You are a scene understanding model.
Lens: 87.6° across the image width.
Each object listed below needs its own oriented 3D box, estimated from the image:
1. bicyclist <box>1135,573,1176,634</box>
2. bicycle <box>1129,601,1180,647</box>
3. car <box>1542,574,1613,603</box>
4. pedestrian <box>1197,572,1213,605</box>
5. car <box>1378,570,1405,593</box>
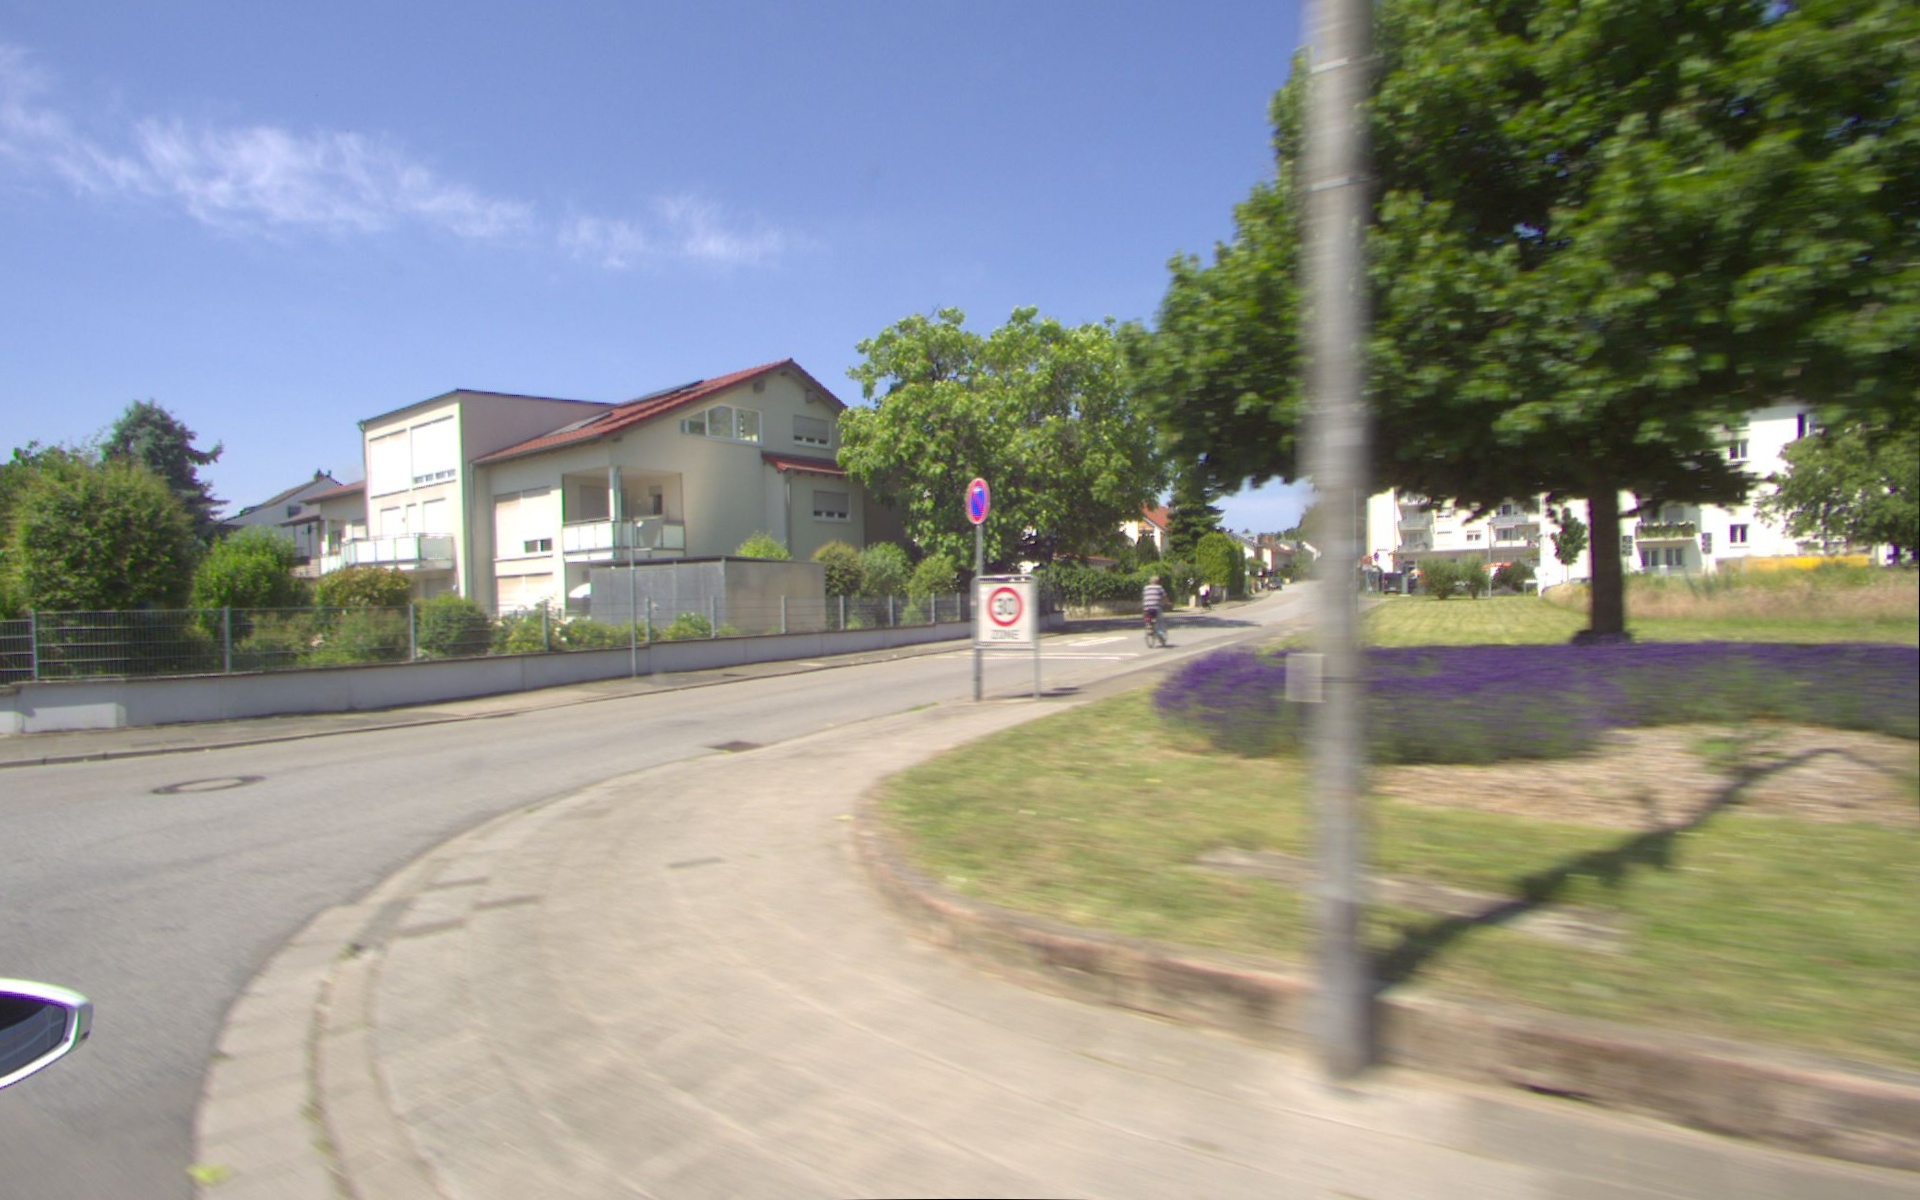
[{"bbox_3d":[5.091,0.089,26.029,0.842,1.551,0.925,-1,1,25],"label":"bicyclist"},{"bbox_3d":[5.056,0.606,25.938,0.803,1.118,2.139,-1,1,25],"label":"bicycle"},{"bbox_3d":[39.564,-0.697,64.252,3.776,1.649,1.503,-2,-2,30],"label":"car"},{"bbox_3d":[14.270,-0.652,58.314,0.771,1.876,0.630,-1,-1,22],"label":"pedestrian"},{"bbox_3d":[37.953,-1.606,88.012,1.503,1.952,3.159,-1,1,37],"label":"car"}]
